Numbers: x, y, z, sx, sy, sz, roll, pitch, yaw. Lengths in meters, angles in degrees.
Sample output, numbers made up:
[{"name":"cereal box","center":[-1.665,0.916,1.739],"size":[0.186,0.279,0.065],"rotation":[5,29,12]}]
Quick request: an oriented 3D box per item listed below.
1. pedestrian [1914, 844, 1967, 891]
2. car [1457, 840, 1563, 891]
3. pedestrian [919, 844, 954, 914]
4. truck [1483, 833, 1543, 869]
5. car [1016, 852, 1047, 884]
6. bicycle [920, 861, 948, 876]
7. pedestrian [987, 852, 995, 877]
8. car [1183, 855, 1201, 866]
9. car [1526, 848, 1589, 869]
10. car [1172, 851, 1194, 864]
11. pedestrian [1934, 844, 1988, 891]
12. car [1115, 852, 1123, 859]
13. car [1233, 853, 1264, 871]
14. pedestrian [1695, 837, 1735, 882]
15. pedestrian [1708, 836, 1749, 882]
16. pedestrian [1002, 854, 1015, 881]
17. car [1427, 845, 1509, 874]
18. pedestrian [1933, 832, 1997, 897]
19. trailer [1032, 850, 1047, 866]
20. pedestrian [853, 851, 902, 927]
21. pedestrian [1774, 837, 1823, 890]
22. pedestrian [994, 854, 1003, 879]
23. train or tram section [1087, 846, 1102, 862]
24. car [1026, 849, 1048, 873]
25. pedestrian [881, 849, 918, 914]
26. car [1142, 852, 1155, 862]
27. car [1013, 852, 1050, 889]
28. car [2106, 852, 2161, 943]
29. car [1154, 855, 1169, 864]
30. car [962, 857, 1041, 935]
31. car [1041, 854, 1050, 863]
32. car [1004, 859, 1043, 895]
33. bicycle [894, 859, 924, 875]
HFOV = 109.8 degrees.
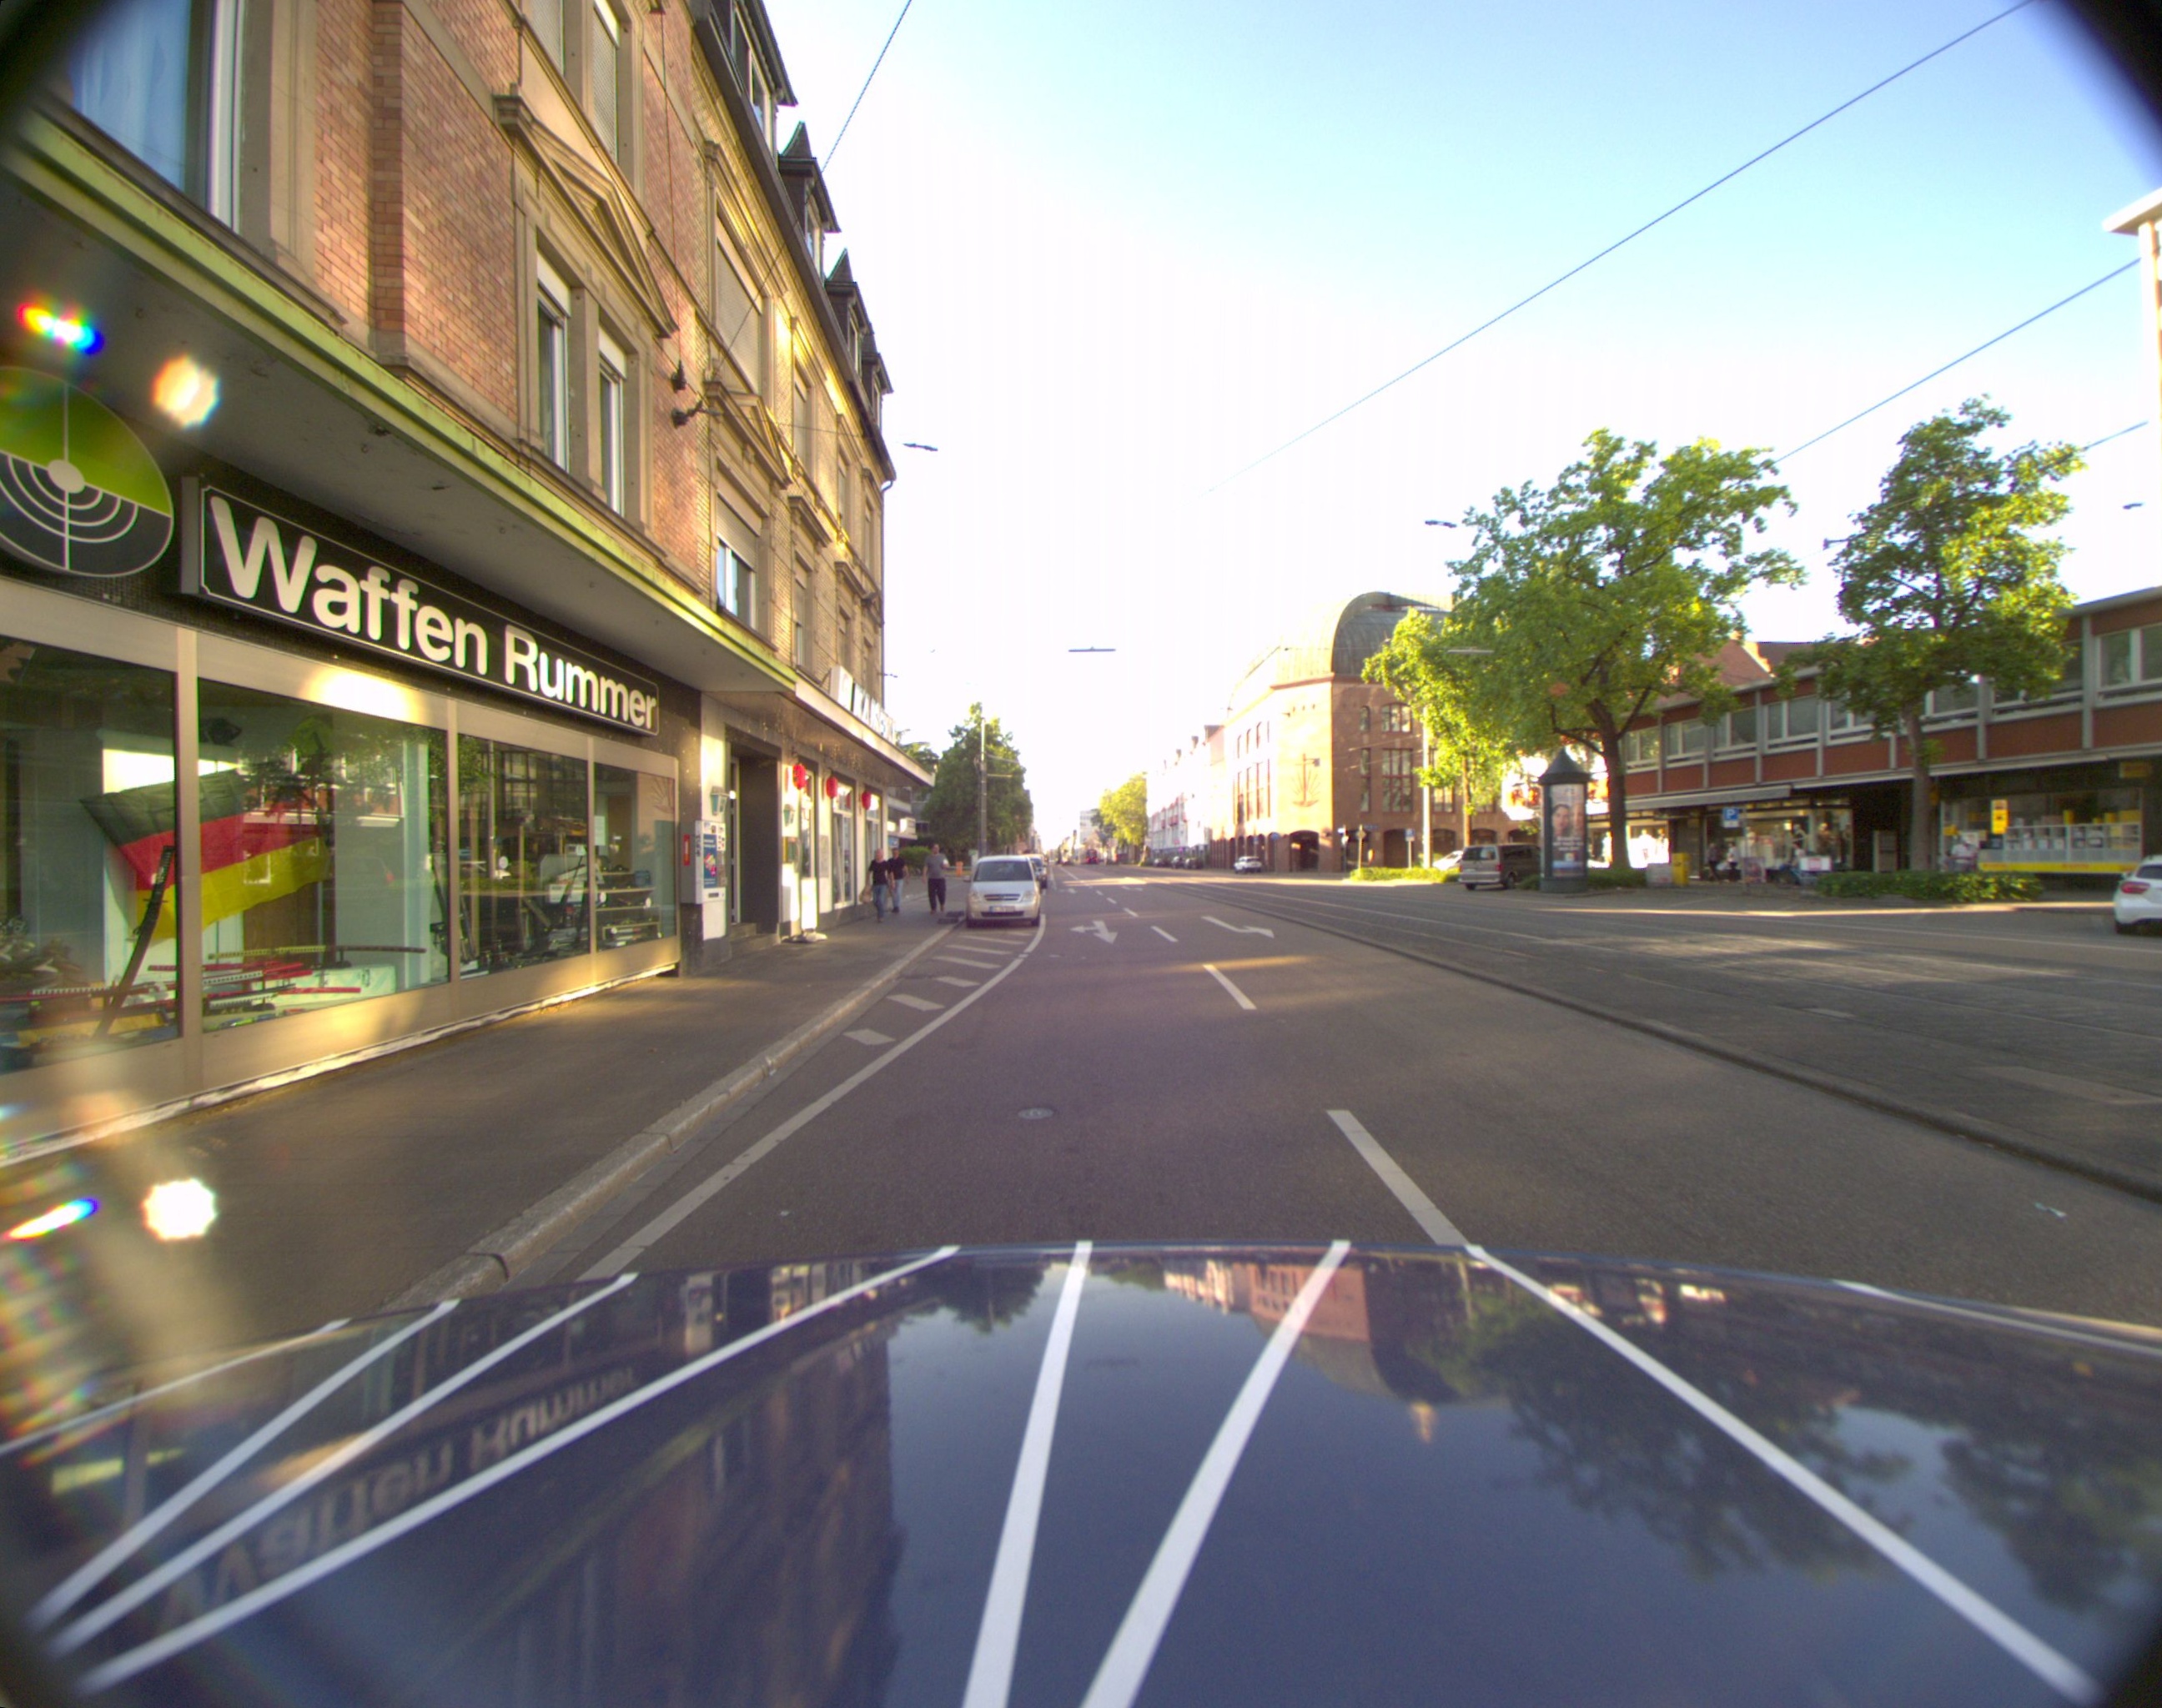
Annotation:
[{"name":"pedestrian","center":[27.321,0.421,24.166],"size":[0.689,1.488,0.900],"rotation":[-1,0,-5]},{"name":"car","center":[18.576,0.452,32.826],"size":[5.130,1.918,1.849],"rotation":[-3,2,-34]},{"name":"pedestrian","center":[-3.972,0.683,20.969],"size":[0.796,1.888,1.032],"rotation":[0,1,-3]},{"name":"truck","center":[34.340,-0.220,60.533],"size":[1.856,2.747,4.528],"rotation":[-1,0,-7]},{"name":"car","center":[-2.903,0.779,45.266],"size":[1.680,1.797,4.247],"rotation":[-2,0,-3]},{"name":"bicycle","center":[-10.386,1.022,53.634],"size":[1.886,1.090,0.469],"rotation":[0,1,-4]},{"name":"pedestrian","center":[-6.194,0.702,52.239],"size":[0.494,1.703,0.437],"rotation":[2,1,-3]},{"name":"car","center":[14.192,0.796,97.502],"size":[1.646,1.392,3.682],"rotation":[-2,0,-2]},{"name":"car","center":[38.040,0.363,60.768],"size":[1.856,1.564,4.528],"rotation":[-1,0,-7]},{"name":"car","center":[13.969,0.455,104.279],"size":[1.964,1.690,4.559],"rotation":[-2,0,-4]},{"name":"pedestrian","center":[28.034,0.425,24.226],"size":[0.689,1.462,0.900],"rotation":[-1,0,-5]},{"name":"car","center":[11.285,0.492,225.492],"size":[1.861,1.914,3.999],"rotation":[0,0,-1]},{"name":"car","center":[15.516,0.711,70.647],"size":[1.600,1.581,4.276],"rotation":[-3,0,-4]},{"name":"pedestrian","center":[26.568,0.237,31.870],"size":[0.919,1.867,0.900],"rotation":[-1,1,-5]},{"name":"pedestrian","center":[27.567,0.197,32.380],"size":[0.996,1.937,0.900],"rotation":[-1,1,-5]},{"name":"pedestrian","center":[-4.714,0.846,49.347],"size":[0.789,1.727,0.945],"rotation":[-1,1,-3]},{"name":"car","center":[28.541,0.411,56.106],"size":[4.993,1.957,2.130],"rotation":[-1,3,-4]},{"name":"pedestrian","center":[25.746,0.298,22.148],"size":[0.917,1.867,0.902],"rotation":[0,1,26]},{"name":"trailer","center":[-5.713,0.532,104.874],"size":[1.784,2.136,5.315],"rotation":[-2,0,0]},{"name":"pedestrian","center":[-4.749,0.794,17.806],"size":[0.903,1.703,1.032],"rotation":[2,0,-6]},{"name":"pedestrian","center":[25.752,0.324,27.300],"size":[0.919,1.867,0.900],"rotation":[-1,1,-5]},{"name":"pedestrian","center":[-5.662,0.843,52.226],"size":[0.494,1.703,0.437],"rotation":[2,1,-3]},{"name":"train or tram section","center":[3.005,-0.048,177.740],"size":[2.683,3.530,12.837],"rotation":[0,0,-3]},{"name":"car","center":[-4.033,0.618,69.928],"size":[1.882,2.009,4.904],"rotation":[-2,0,-2]},{"name":"pedestrian","center":[-4.968,0.743,20.881],"size":[0.813,1.746,1.032],"rotation":[0,1,-3]},{"name":"car","center":[12.293,0.619,139.038],"size":[1.931,1.787,4.383],"rotation":[-1,0,1]},{"name":"car","center":[-2.595,0.840,40.559],"size":[1.825,1.747,4.473],"rotation":[-2,1,-3]},{"name":"car","center":[20.659,0.752,14.094],"size":[4.276,1.421,1.762],"rotation":[-3,1,-34]},{"name":"car","center":[13.050,0.866,123.185],"size":[1.829,1.500,4.559],"rotation":[-2,0,-2]},{"name":"car","center":[-1.816,0.897,18.212],"size":[1.642,1.605,3.943],"rotation":[-1,0,-4]},{"name":"car","center":[-5.987,0.802,127.225],"size":[1.420,1.425,3.871],"rotation":[-2,0,-3]},{"name":"car","center":[-2.653,1.006,35.208],"size":[1.642,1.484,3.793],"rotation":[-3,0,-4]},{"name":"bicycle","center":[-11.927,0.893,52.711],"size":[2.020,1.089,0.637],"rotation":[1,0,-9]}]
